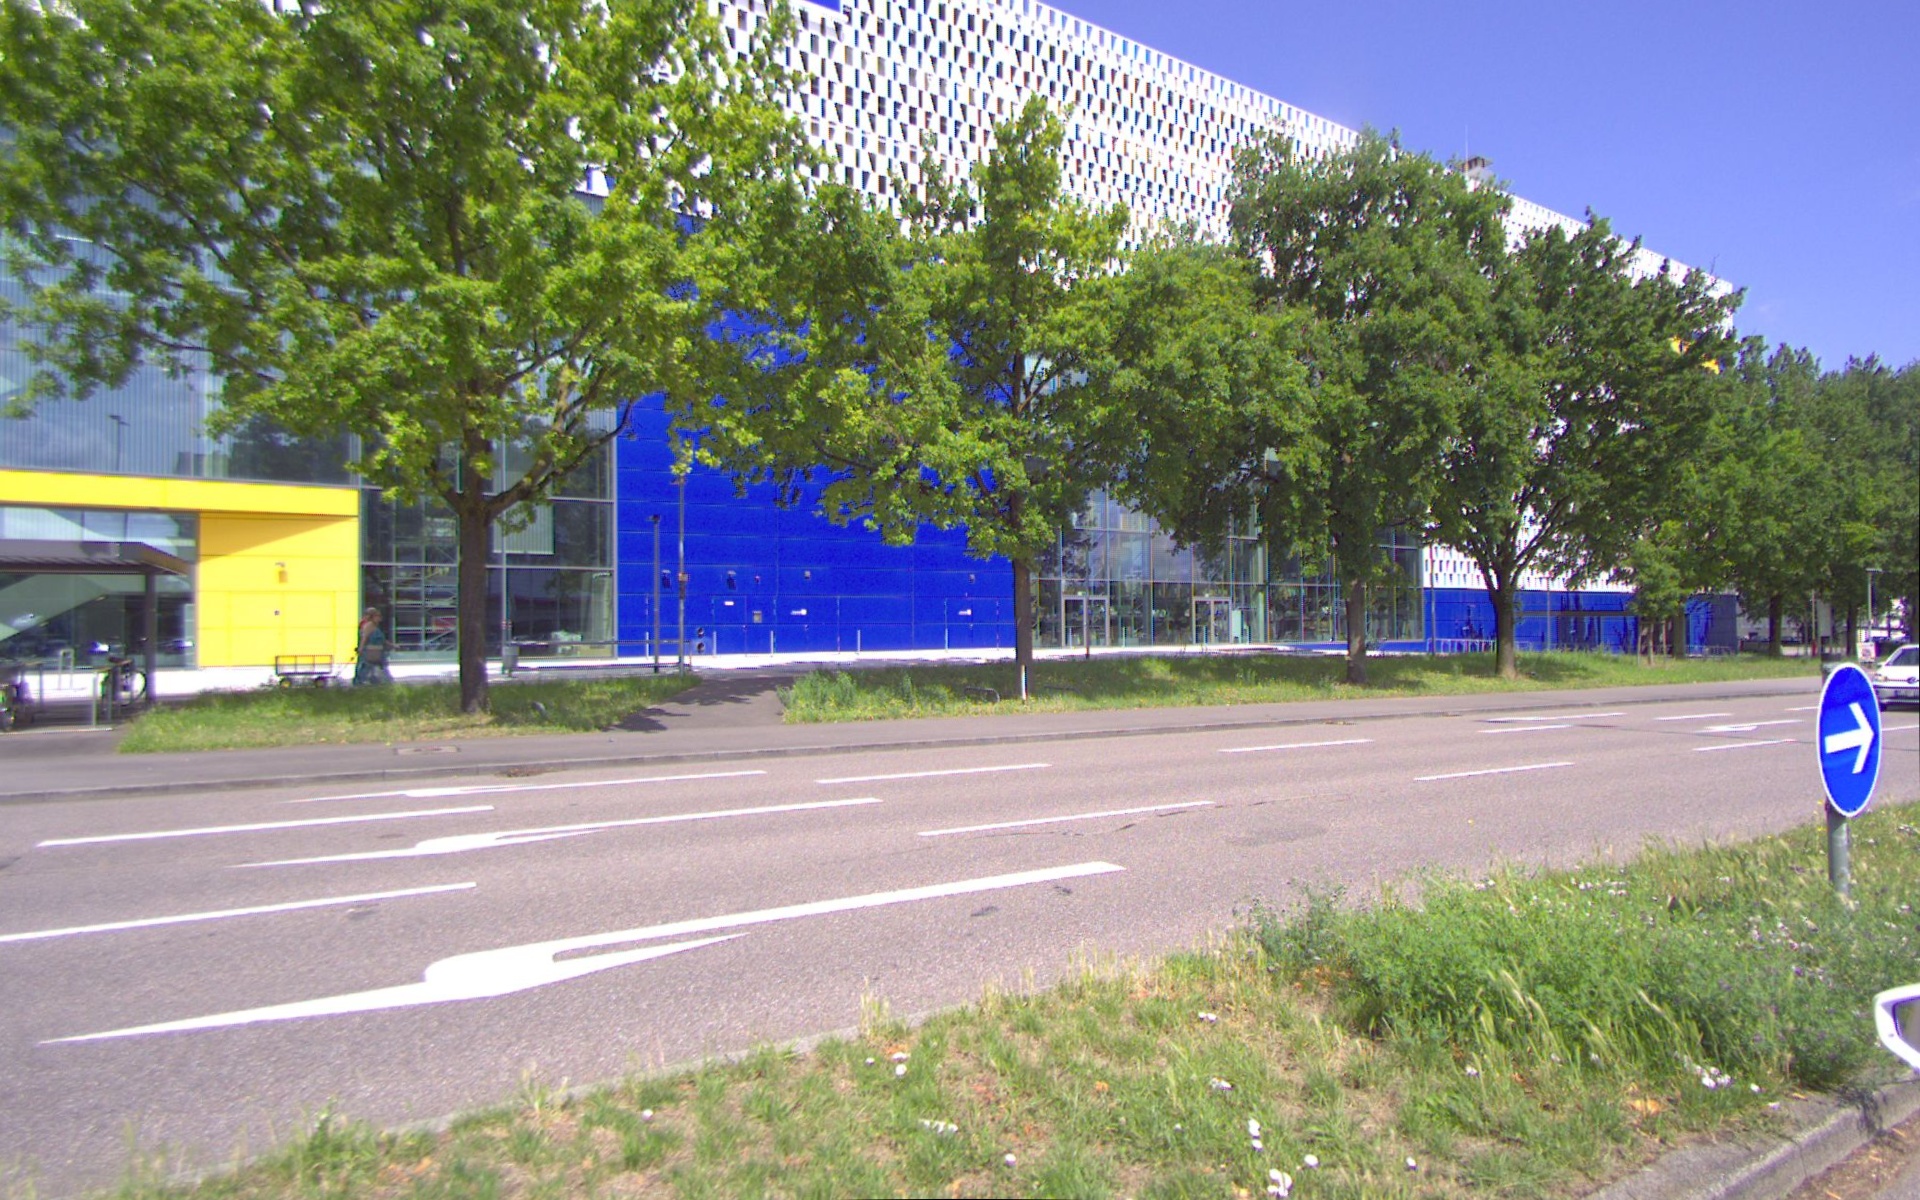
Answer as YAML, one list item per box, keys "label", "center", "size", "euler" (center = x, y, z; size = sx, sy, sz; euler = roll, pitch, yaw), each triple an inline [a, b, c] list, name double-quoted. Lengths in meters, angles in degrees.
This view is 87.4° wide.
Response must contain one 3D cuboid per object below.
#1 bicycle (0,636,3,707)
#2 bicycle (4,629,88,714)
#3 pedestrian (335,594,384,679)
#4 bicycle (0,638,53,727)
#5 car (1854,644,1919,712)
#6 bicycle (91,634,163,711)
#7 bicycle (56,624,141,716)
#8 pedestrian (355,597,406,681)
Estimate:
- label: "bicycle"
  center: [-15.963, 1.192, 15.973]
  size: [0.622, 1.195, 1.916]
  euler: [0, -1, -30]
- label: "bicycle"
  center: [-15.087, 1.147, 16.626]
  size: [0.622, 1.289, 1.916]
  euler: [0, -1, -30]
- label: "pedestrian"
  center: [-13.365, 0.799, 22.383]
  size: [0.876, 1.847, 0.750]
  euler: [1, -1, -30]
- label: "bicycle"
  center: [-14.006, 1.187, 14.742]
  size: [0.622, 1.199, 1.916]
  euler: [0, -1, -30]
- label: "car"
  center: [21.743, 1.702, 22.377]
  size: [3.626, 1.447, 1.636]
  euler: [2, -3, -30]
- label: "bicycle"
  center: [-14.227, 1.208, 17.194]
  size: [0.622, 1.199, 1.916]
  euler: [0, -1, -30]
- label: "bicycle"
  center: [-13.082, 1.020, 15.306]
  size: [0.622, 1.289, 1.916]
  euler: [0, -1, -30]
- label: "pedestrian"
  center: [-12.224, 0.820, 21.194]
  size: [0.876, 1.725, 0.945]
  euler: [1, -1, -30]
